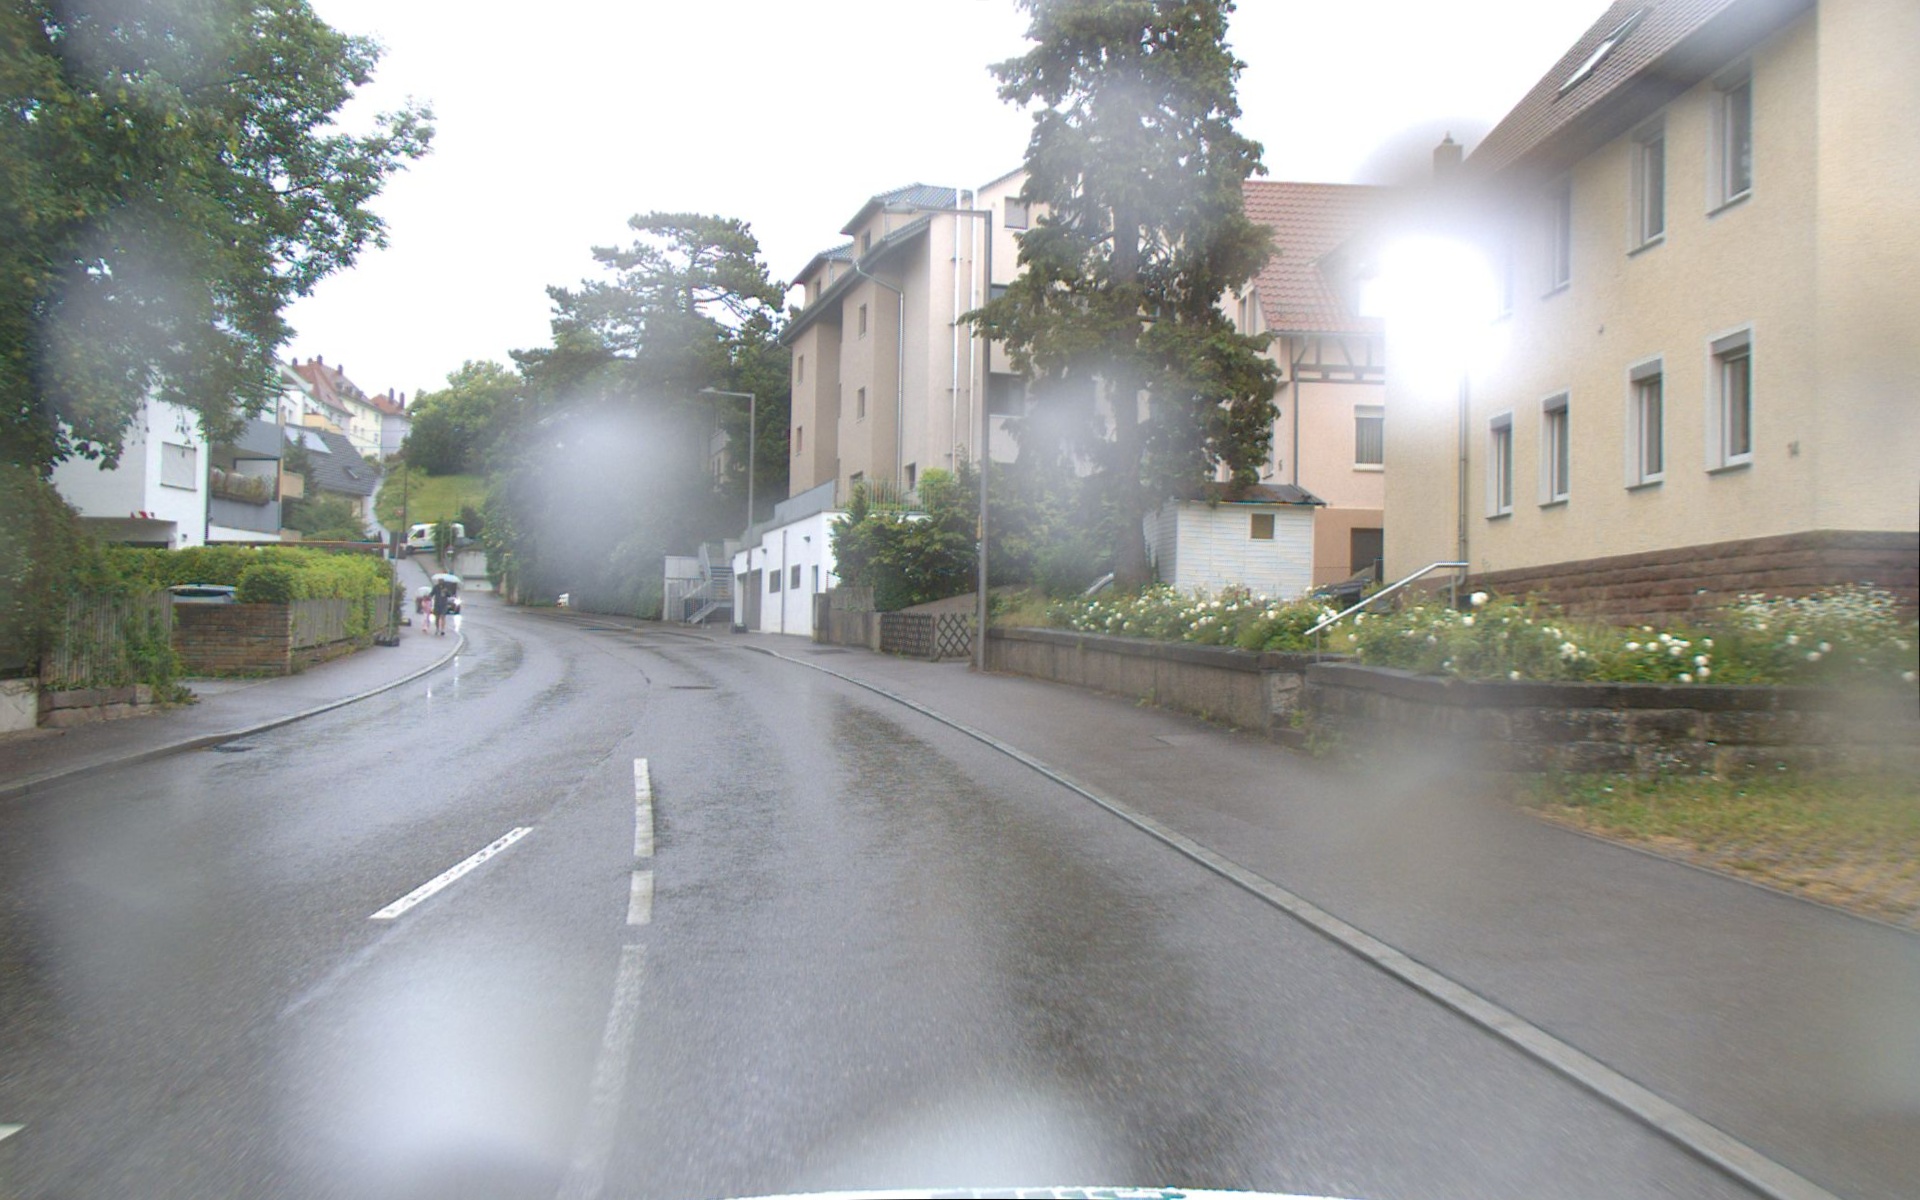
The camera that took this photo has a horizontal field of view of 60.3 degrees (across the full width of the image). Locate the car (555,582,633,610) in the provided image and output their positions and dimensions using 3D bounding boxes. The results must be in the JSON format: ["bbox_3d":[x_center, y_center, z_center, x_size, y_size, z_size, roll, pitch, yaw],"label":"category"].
[{"bbox_3d":[-21.214,-0.237,95.918,4.091,1.502,1.889,-1,2,-26],"label":"car"}]

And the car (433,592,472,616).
[{"bbox_3d":[-26.372,0.190,85.979,1.650,1.166,3.987,0,0,-13],"label":"car"}]

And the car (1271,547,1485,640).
[{"bbox_3d":[8.517,-0.144,33.883,3.780,1.682,1.960,-2,1,-7],"label":"car"}]

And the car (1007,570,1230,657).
[{"bbox_3d":[3.144,0.252,33.383,4.232,1.682,1.962,0,0,-4],"label":"car"}]

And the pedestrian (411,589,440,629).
[{"bbox_3d":[-16.801,0.270,52.025,0.743,1.200,1.035,4,-1,-16],"label":"pedestrian"}]

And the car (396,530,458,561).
[{"bbox_3d":[-46.420,-4.737,144.025,4.889,2.614,1.886,-1,2,-29],"label":"car"}]

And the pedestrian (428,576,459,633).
[{"bbox_3d":[-15.866,0.129,50.807,0.743,1.672,1.035,4,-1,-16],"label":"pedestrian"}]
